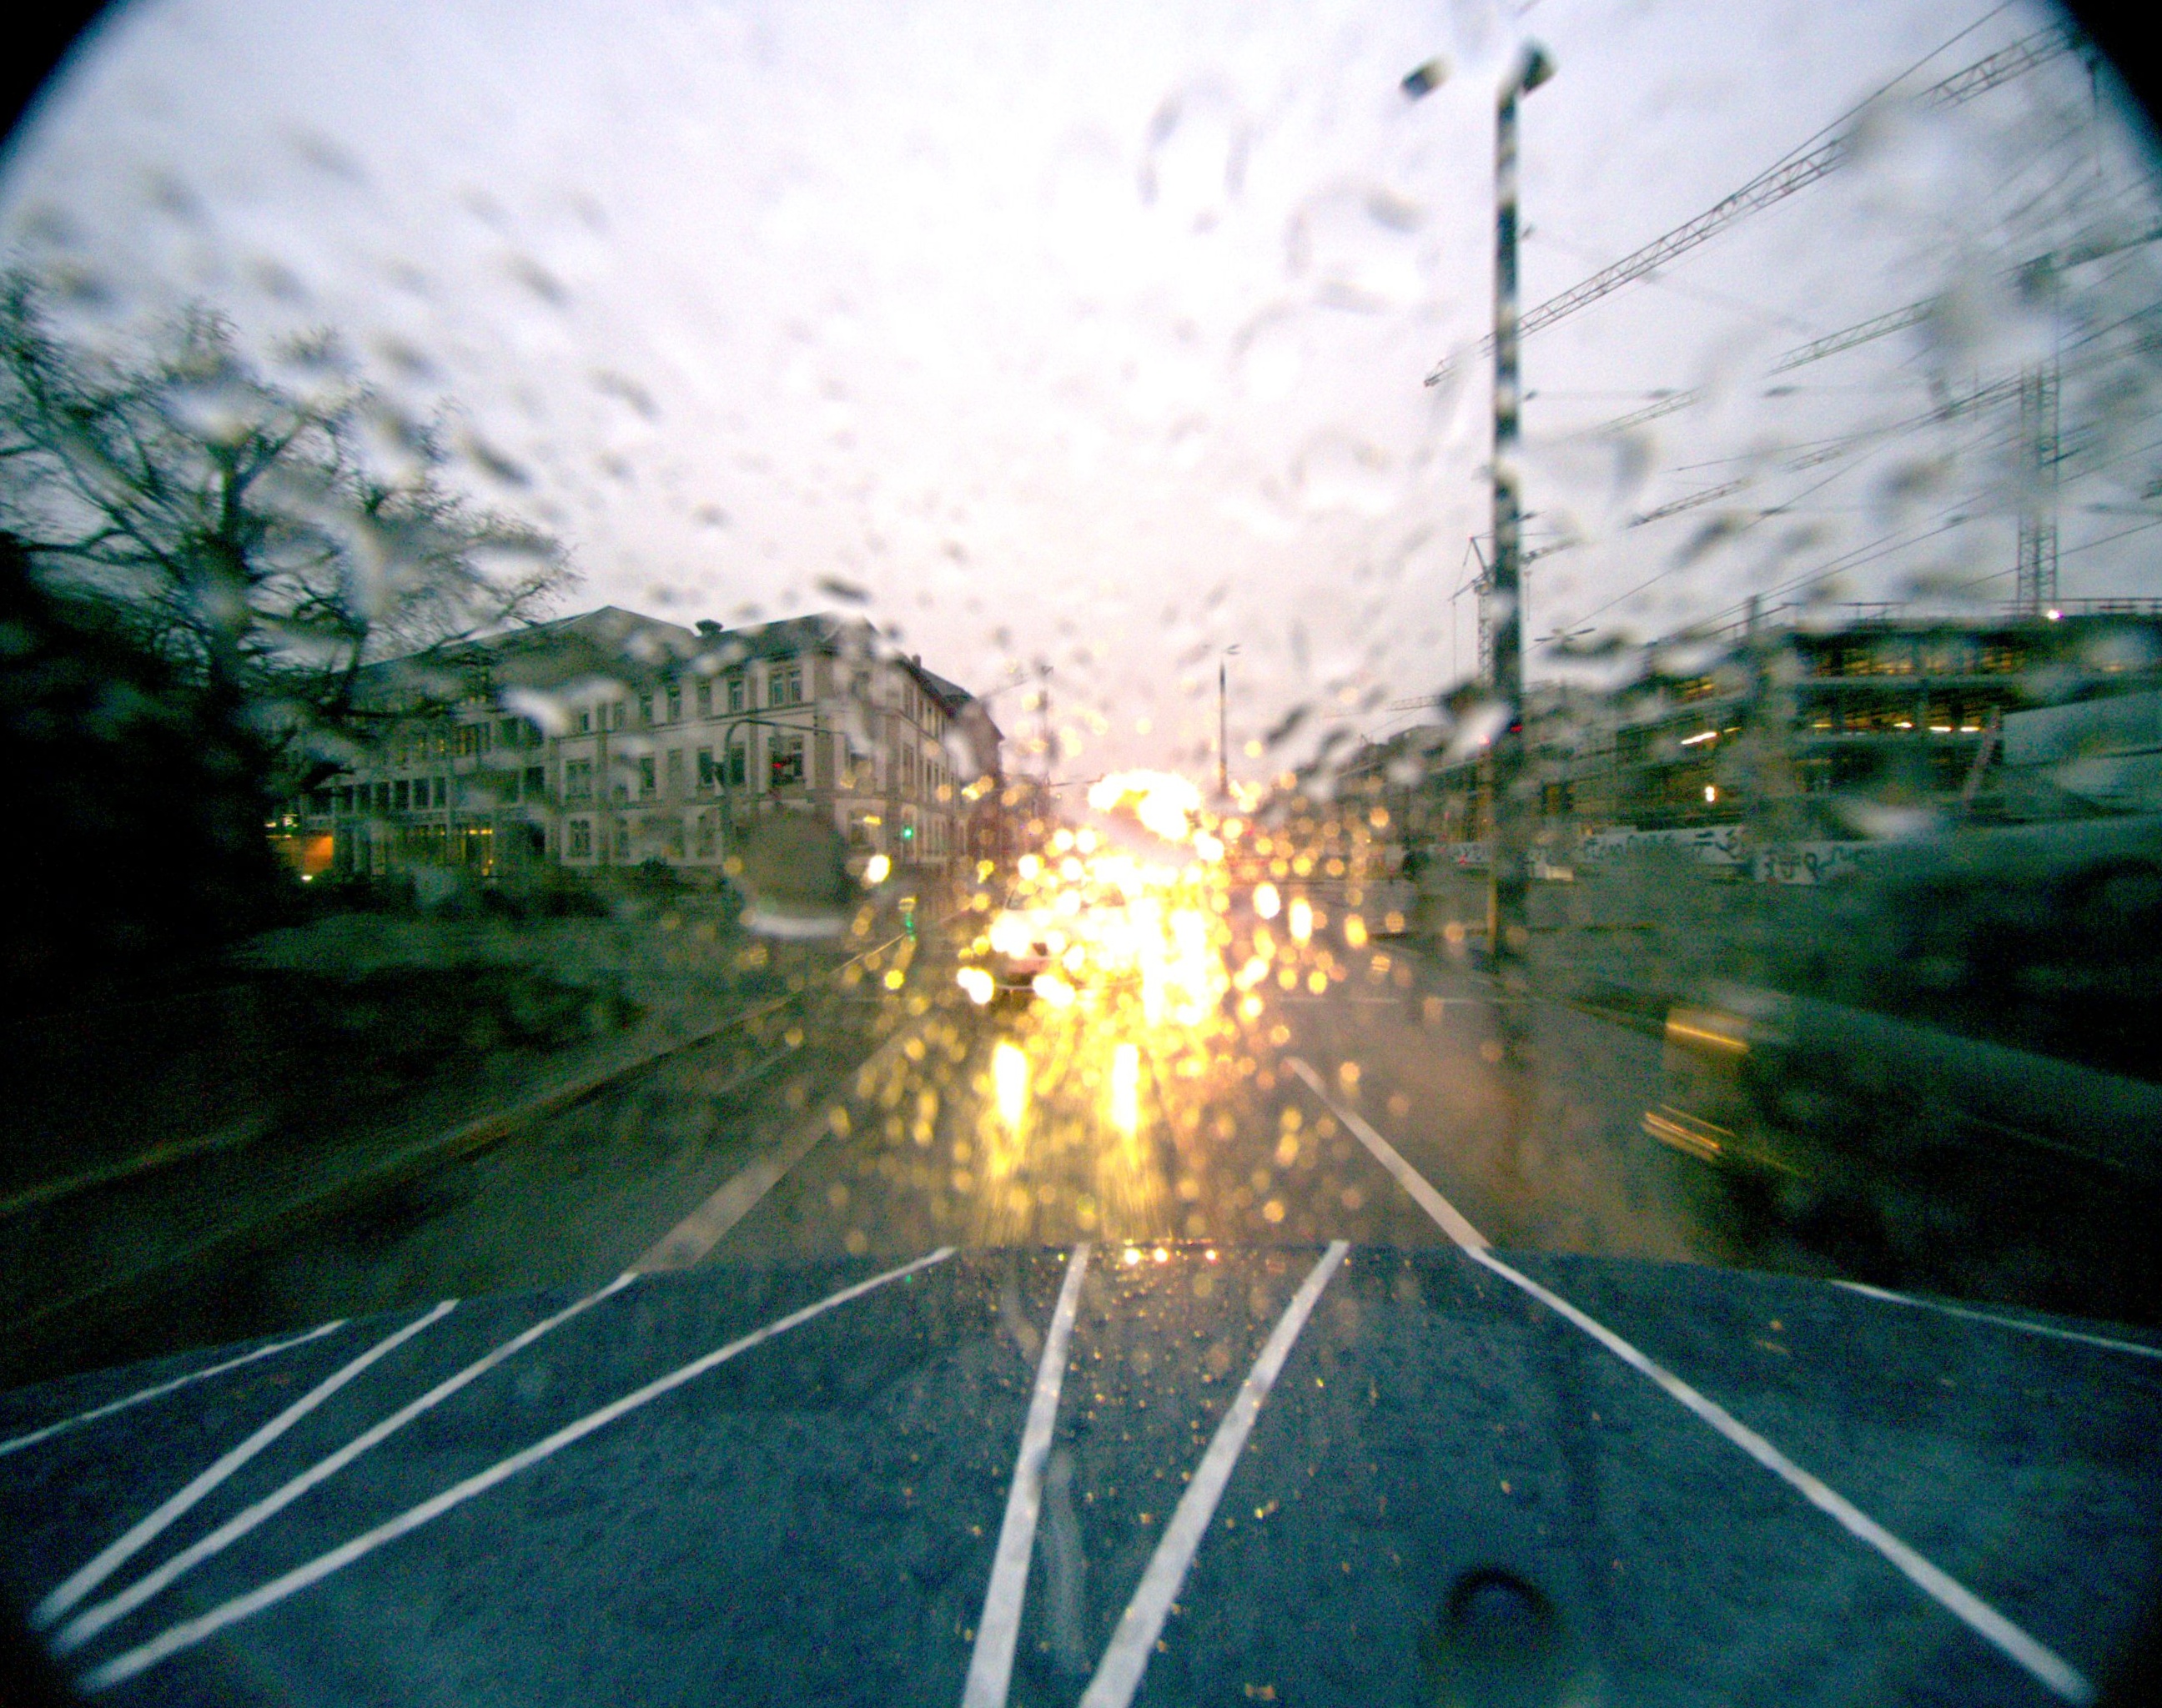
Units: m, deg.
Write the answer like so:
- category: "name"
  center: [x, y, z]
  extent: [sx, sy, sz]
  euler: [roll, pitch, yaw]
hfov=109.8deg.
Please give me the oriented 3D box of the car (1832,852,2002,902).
- category: "car"
  center: [29.592, 0.757, 27.115]
  extent: [1.885, 1.565, 4.001]
  euler: [-2, 1, 6]

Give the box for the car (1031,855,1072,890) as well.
- category: "car"
  center: [-1.332, 0.809, 35.462]
  extent: [1.764, 1.443, 3.999]
  euler: [-2, 1, -1]

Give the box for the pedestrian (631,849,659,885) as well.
- category: "pedestrian"
  center: [-24.526, 0.717, 42.715]
  extent: [0.976, 1.969, 0.869]
  euler: [-1, 1, 23]

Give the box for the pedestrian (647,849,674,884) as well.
- category: "pedestrian"
  center: [-24.131, 0.697, 43.606]
  extent: [0.976, 1.969, 0.869]
  euler: [-1, 1, 23]

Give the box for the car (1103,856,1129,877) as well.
- category: "car"
  center: [2.767, 0.949, 61.149]
  extent: [1.844, 1.547, 3.999]
  euler: [-2, 1, 0]

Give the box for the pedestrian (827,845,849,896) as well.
- category: "pedestrian"
  center: [-9.173, 0.614, 28.673]
  extent: [0.675, 1.868, 0.714]
  euler: [-2, 1, -15]

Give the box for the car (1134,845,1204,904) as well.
- category: "car"
  center: [2.762, 0.590, 24.653]
  extent: [1.858, 1.723, 4.000]
  euler: [-2, 1, 2]

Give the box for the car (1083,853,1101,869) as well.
- category: "car"
  center: [1.170, 0.749, 81.194]
  extent: [1.844, 1.547, 3.999]
  euler: [-2, 1, 0]

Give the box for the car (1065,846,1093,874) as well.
- category: "car"
  center: [-0.180, 0.390, 55.169]
  extent: [1.858, 1.886, 3.999]
  euler: [-2, 1, -1]

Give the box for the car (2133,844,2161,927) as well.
- category: "car"
  center: [24.260, 0.679, 14.576]
  extent: [1.886, 1.779, 4.599]
  euler: [-2, 1, 3]

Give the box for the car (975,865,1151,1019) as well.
- category: "car"
  center: [-0.222, 0.934, 9.821]
  extent: [1.764, 1.443, 3.999]
  euler: [-2, 1, -1]

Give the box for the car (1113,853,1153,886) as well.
- category: "car"
  center: [2.821, 0.832, 42.136]
  extent: [1.844, 1.644, 4.323]
  euler: [-2, 1, -1]
